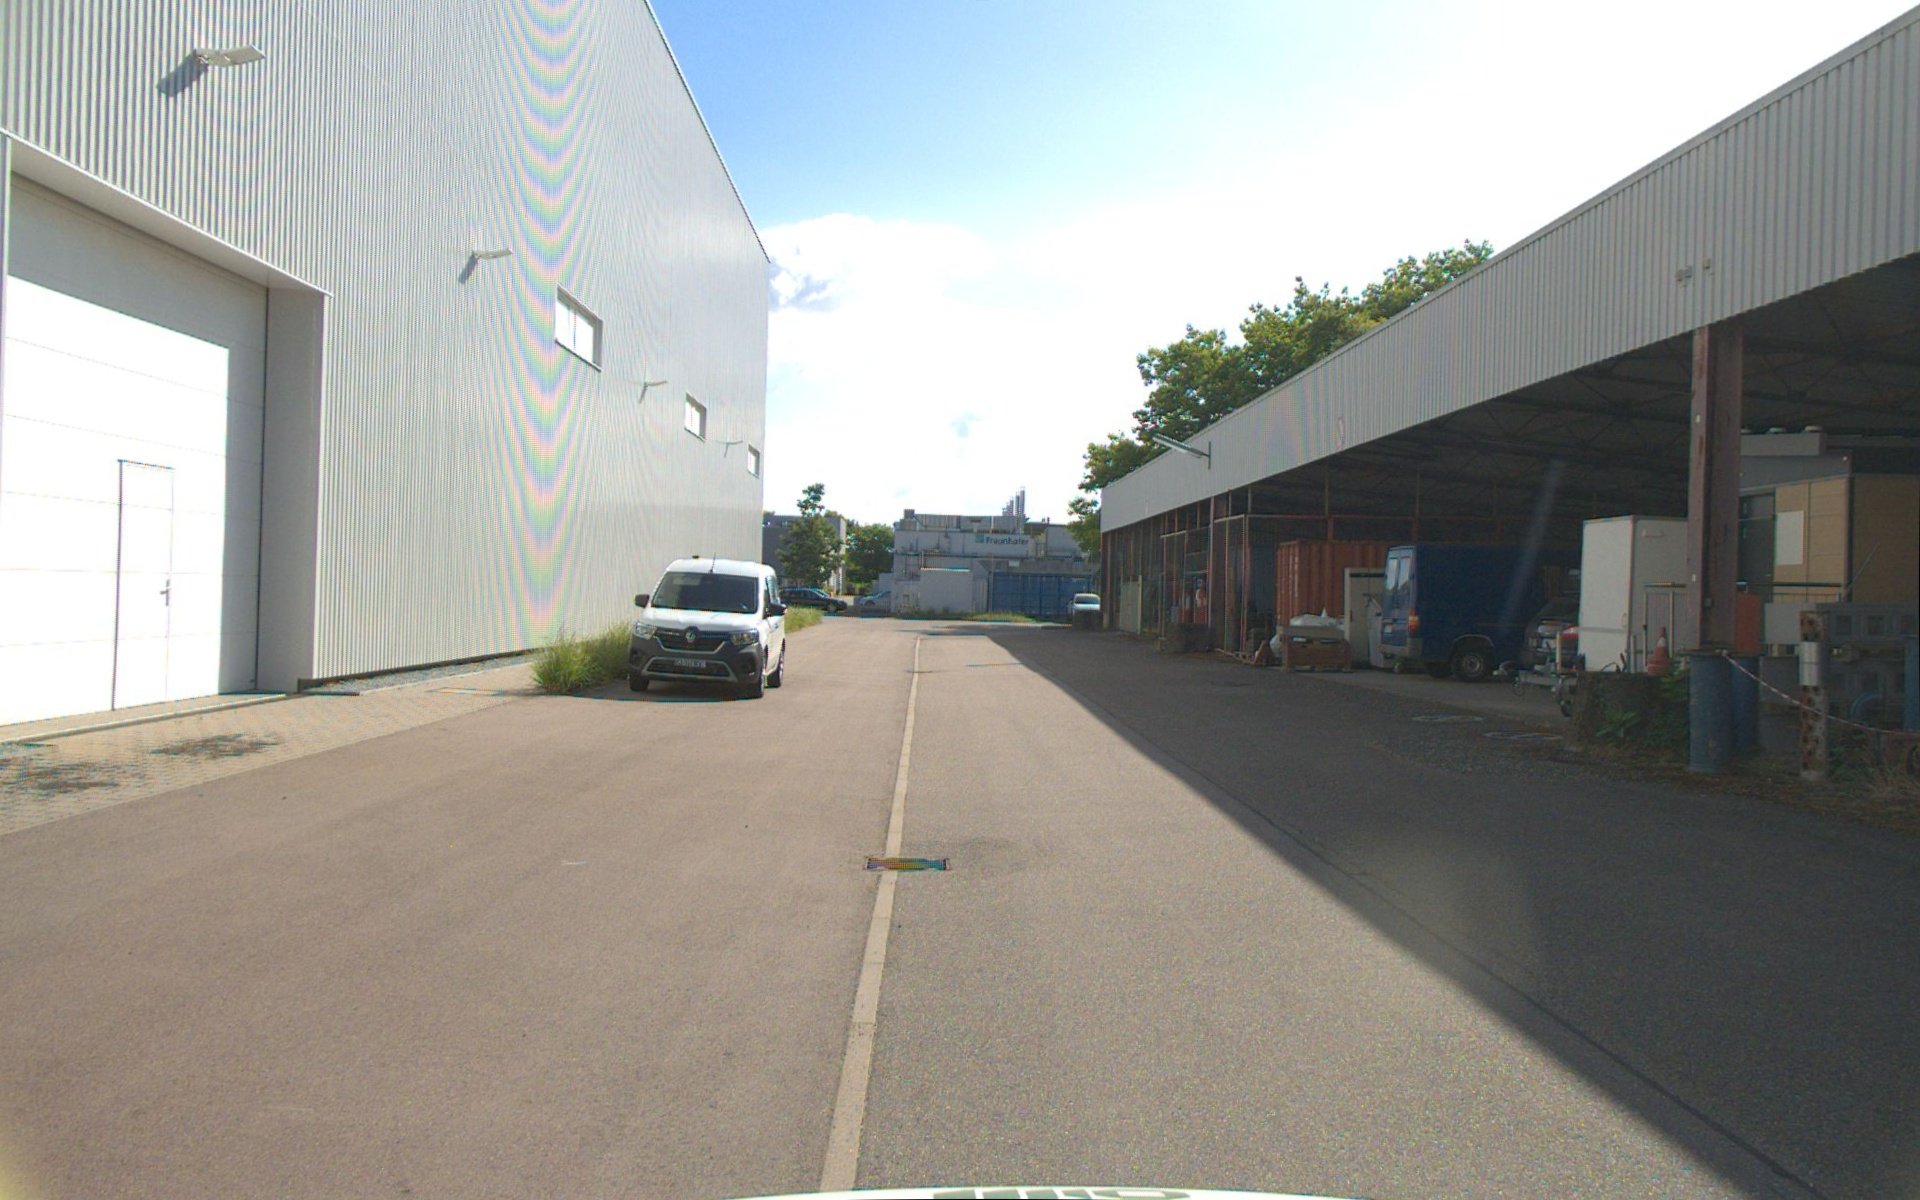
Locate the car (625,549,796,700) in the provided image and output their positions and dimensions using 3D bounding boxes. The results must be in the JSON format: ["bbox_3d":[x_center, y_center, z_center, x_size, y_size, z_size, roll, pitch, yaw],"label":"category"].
[{"bbox_3d":[-3.410,0.325,23.404,1.747,1.847,4.600,3,0,-1],"label":"car"}]

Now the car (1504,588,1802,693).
[{"bbox_3d":[10.752,0.616,25.826,3.886,1.540,1.838,1,0,-5],"label":"car"}]

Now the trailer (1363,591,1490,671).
[{"bbox_3d":[8.860,0.574,31.544,1.996,1.492,1.739,0,0,3],"label":"trailer"}]

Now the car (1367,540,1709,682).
[{"bbox_3d":[10.022,0.193,28.961,5.225,2.321,2.152,1,0,-2],"label":"car"}]

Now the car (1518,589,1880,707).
[{"bbox_3d":[10.066,0.630,22.722,4.164,1.497,1.868,1,0,-5],"label":"car"}]

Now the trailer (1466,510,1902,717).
[{"bbox_3d":[8.677,0.159,20.130,4.424,2.383,2.047,0,0,-1],"label":"trailer"}]

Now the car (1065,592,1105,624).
[{"bbox_3d":[7.035,0.427,93.181,1.939,1.630,4.378,0,1,0],"label":"car"}]

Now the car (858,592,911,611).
[{"bbox_3d":[-6.047,0.125,133.193,4.216,1.483,1.823,0,0,-2],"label":"car"}]

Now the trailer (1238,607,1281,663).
[{"bbox_3d":[6.254,0.726,34.585,0.541,1.138,1.546,0,0,-3],"label":"trailer"}]

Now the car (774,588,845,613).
[{"bbox_3d":[-9.570,0.010,105.203,4.358,1.558,1.823,0,0,-2],"label":"car"}]

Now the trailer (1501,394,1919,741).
[{"bbox_3d":[11.254,-0.335,17.700,10.059,3.401,2.800,0,0,-1],"label":"trailer"}]
